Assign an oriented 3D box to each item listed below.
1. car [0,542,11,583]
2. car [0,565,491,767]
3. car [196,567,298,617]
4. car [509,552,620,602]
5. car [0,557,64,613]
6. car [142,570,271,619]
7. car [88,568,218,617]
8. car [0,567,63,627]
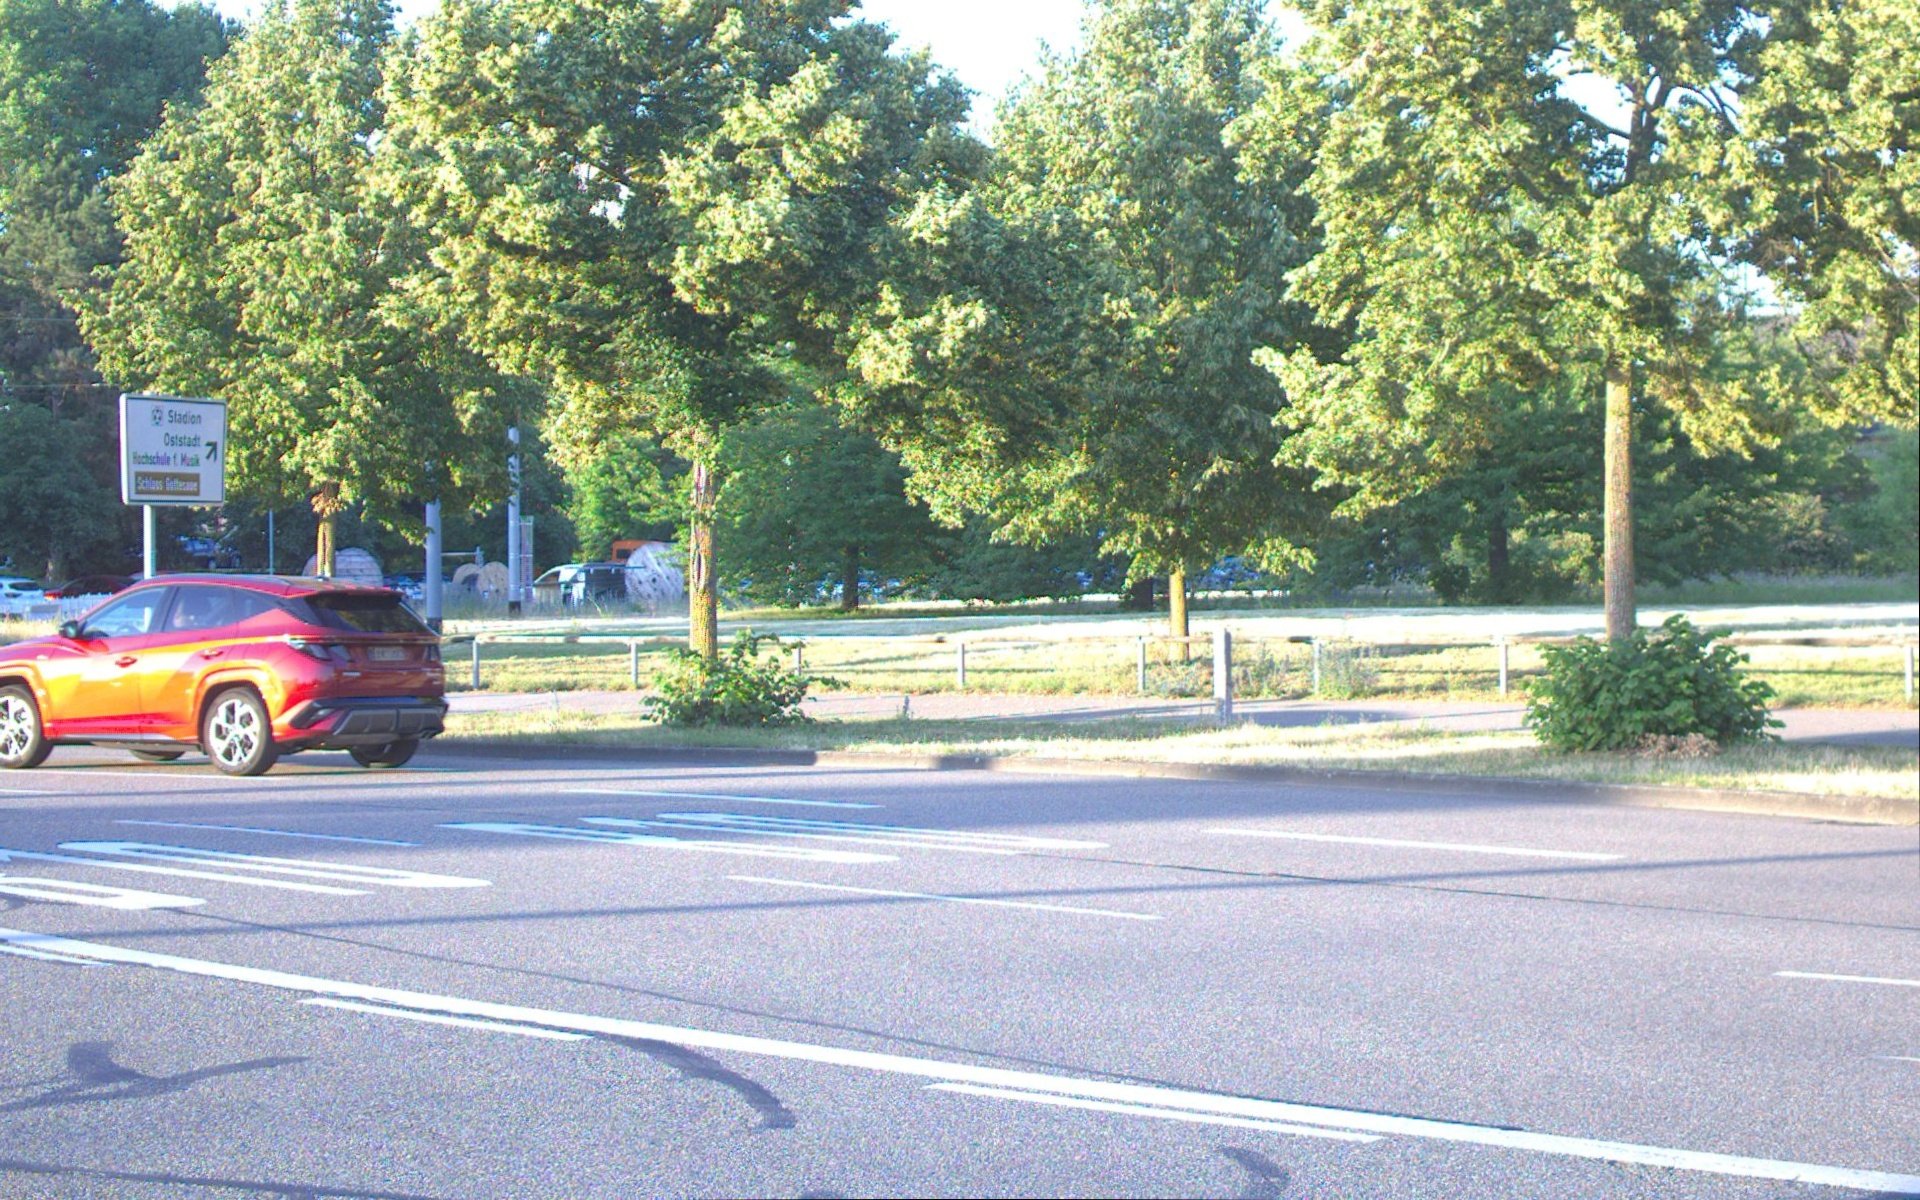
[{"bbox_3d":[-42.429,-1.574,145.359,3.988,1.700,2.000,0,1,7],"label":"car"},{"bbox_3d":[-6.315,0.501,29.005,4.409,1.568,1.996,0,1,32],"label":"car"},{"bbox_3d":[-26.834,-0.318,129.300,1.994,1.746,4.597,-1,2,-37],"label":"car"},{"bbox_3d":[-13.243,-0.774,114.880,1.734,1.612,3.998,-1,1,-41],"label":"car"},{"bbox_3d":[-35.247,-0.548,125.803,4.582,2.007,2.001,-1,1,-9],"label":"car"},{"bbox_3d":[-25.385,-0.203,115.821,3.994,1.598,1.996,0,1,33],"label":"car"},{"bbox_3d":[-26.789,-0.259,114.091,3.994,1.598,1.996,0,1,33],"label":"car"},{"bbox_3d":[-33.162,-0.091,117.669,4.582,2.007,2.001,-1,1,-9],"label":"car"}]
